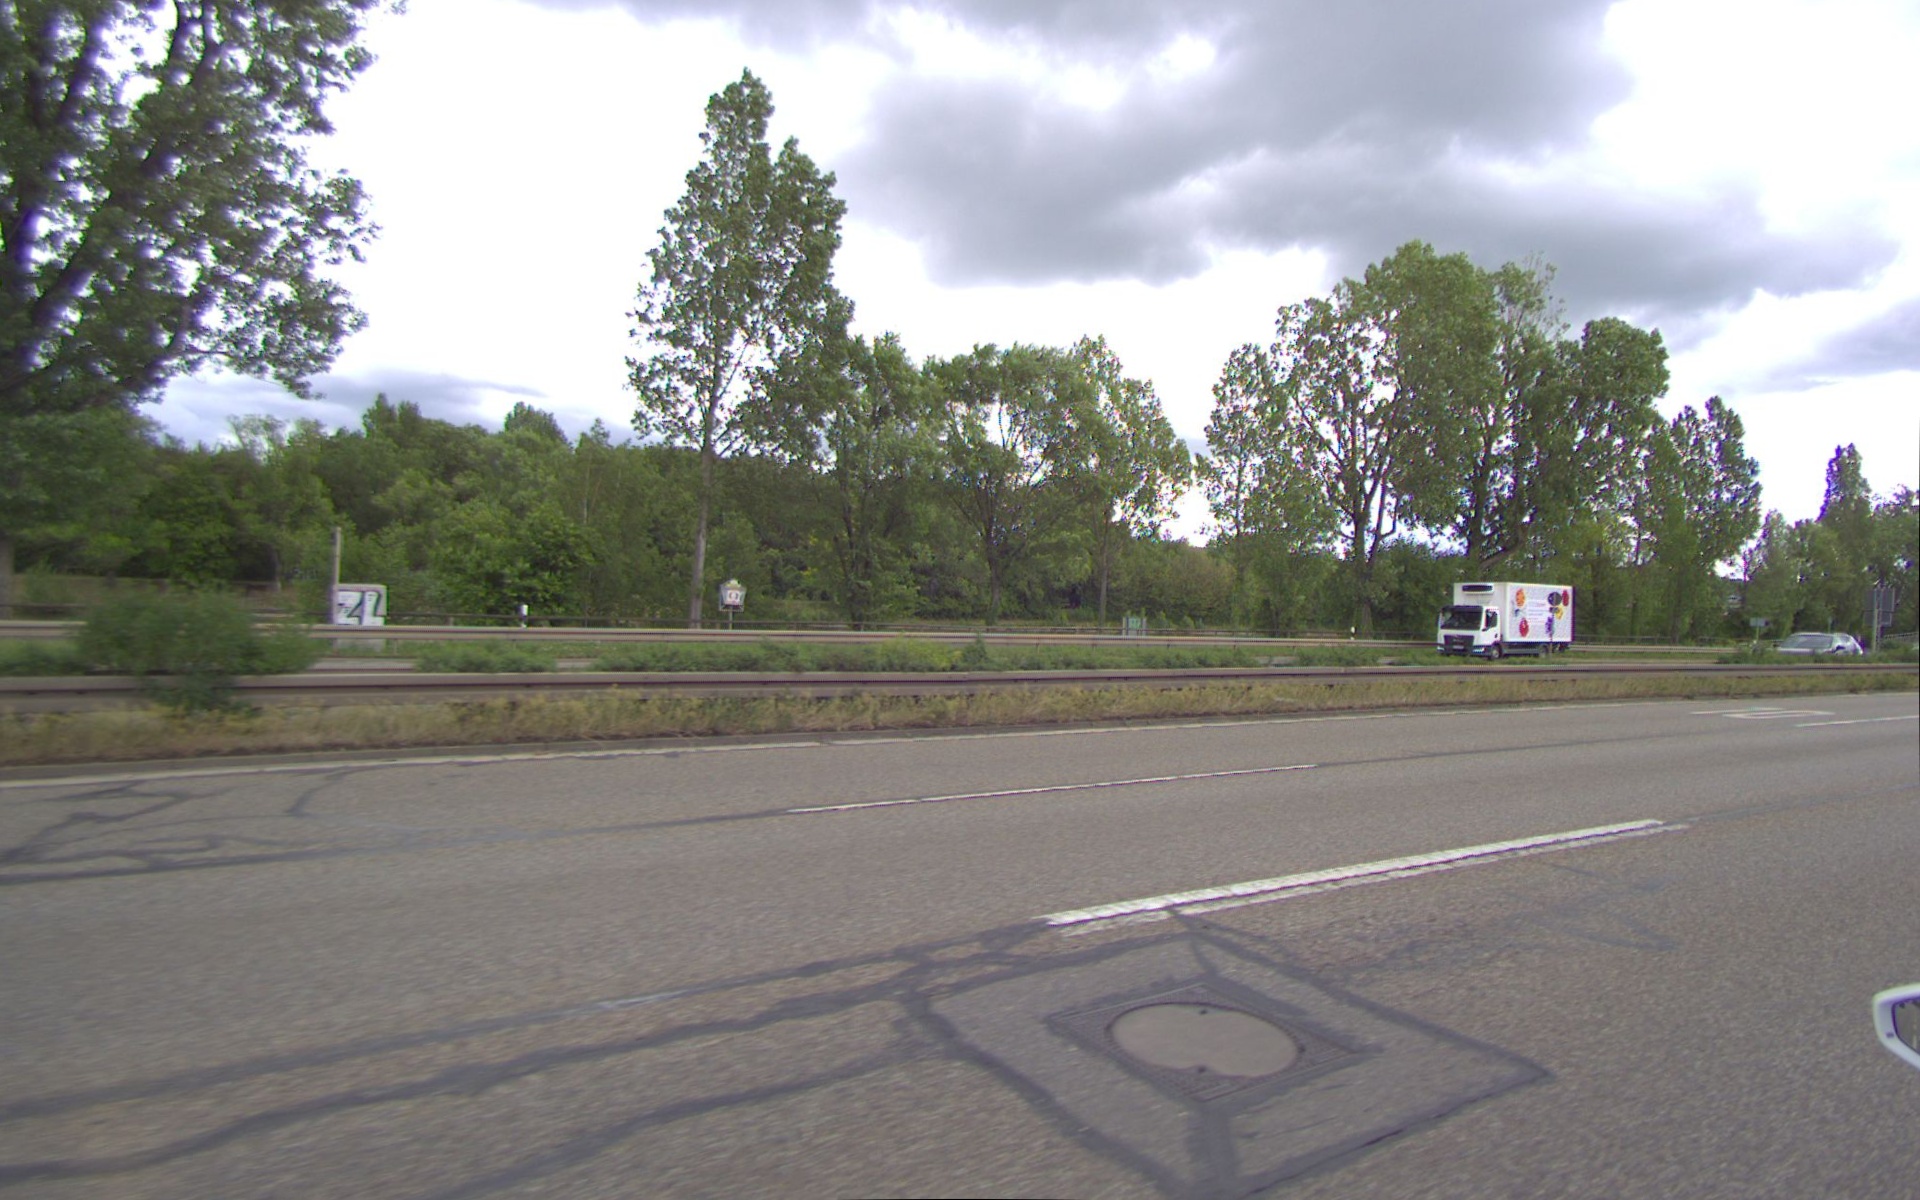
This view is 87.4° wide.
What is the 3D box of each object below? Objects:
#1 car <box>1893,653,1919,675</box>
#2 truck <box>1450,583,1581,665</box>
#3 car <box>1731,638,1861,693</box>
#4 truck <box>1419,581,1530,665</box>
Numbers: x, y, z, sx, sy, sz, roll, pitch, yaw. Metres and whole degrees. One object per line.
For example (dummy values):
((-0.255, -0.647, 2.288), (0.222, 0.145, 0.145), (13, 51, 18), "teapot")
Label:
((83.684, 5.605, 87.845), (4.557, 1.666, 1.981), (2, 2, -34), "car")
((27.350, 1.211, 49.398), (6.273, 3.692, 2.963), (2, 2, -35), "truck")
((29.822, 2.355, 35.773), (5.465, 1.751, 1.838), (2, -8, -32), "car")
((24.139, 1.071, 47.143), (3.960, 3.691, 2.965), (2, 2, -34), "truck")
